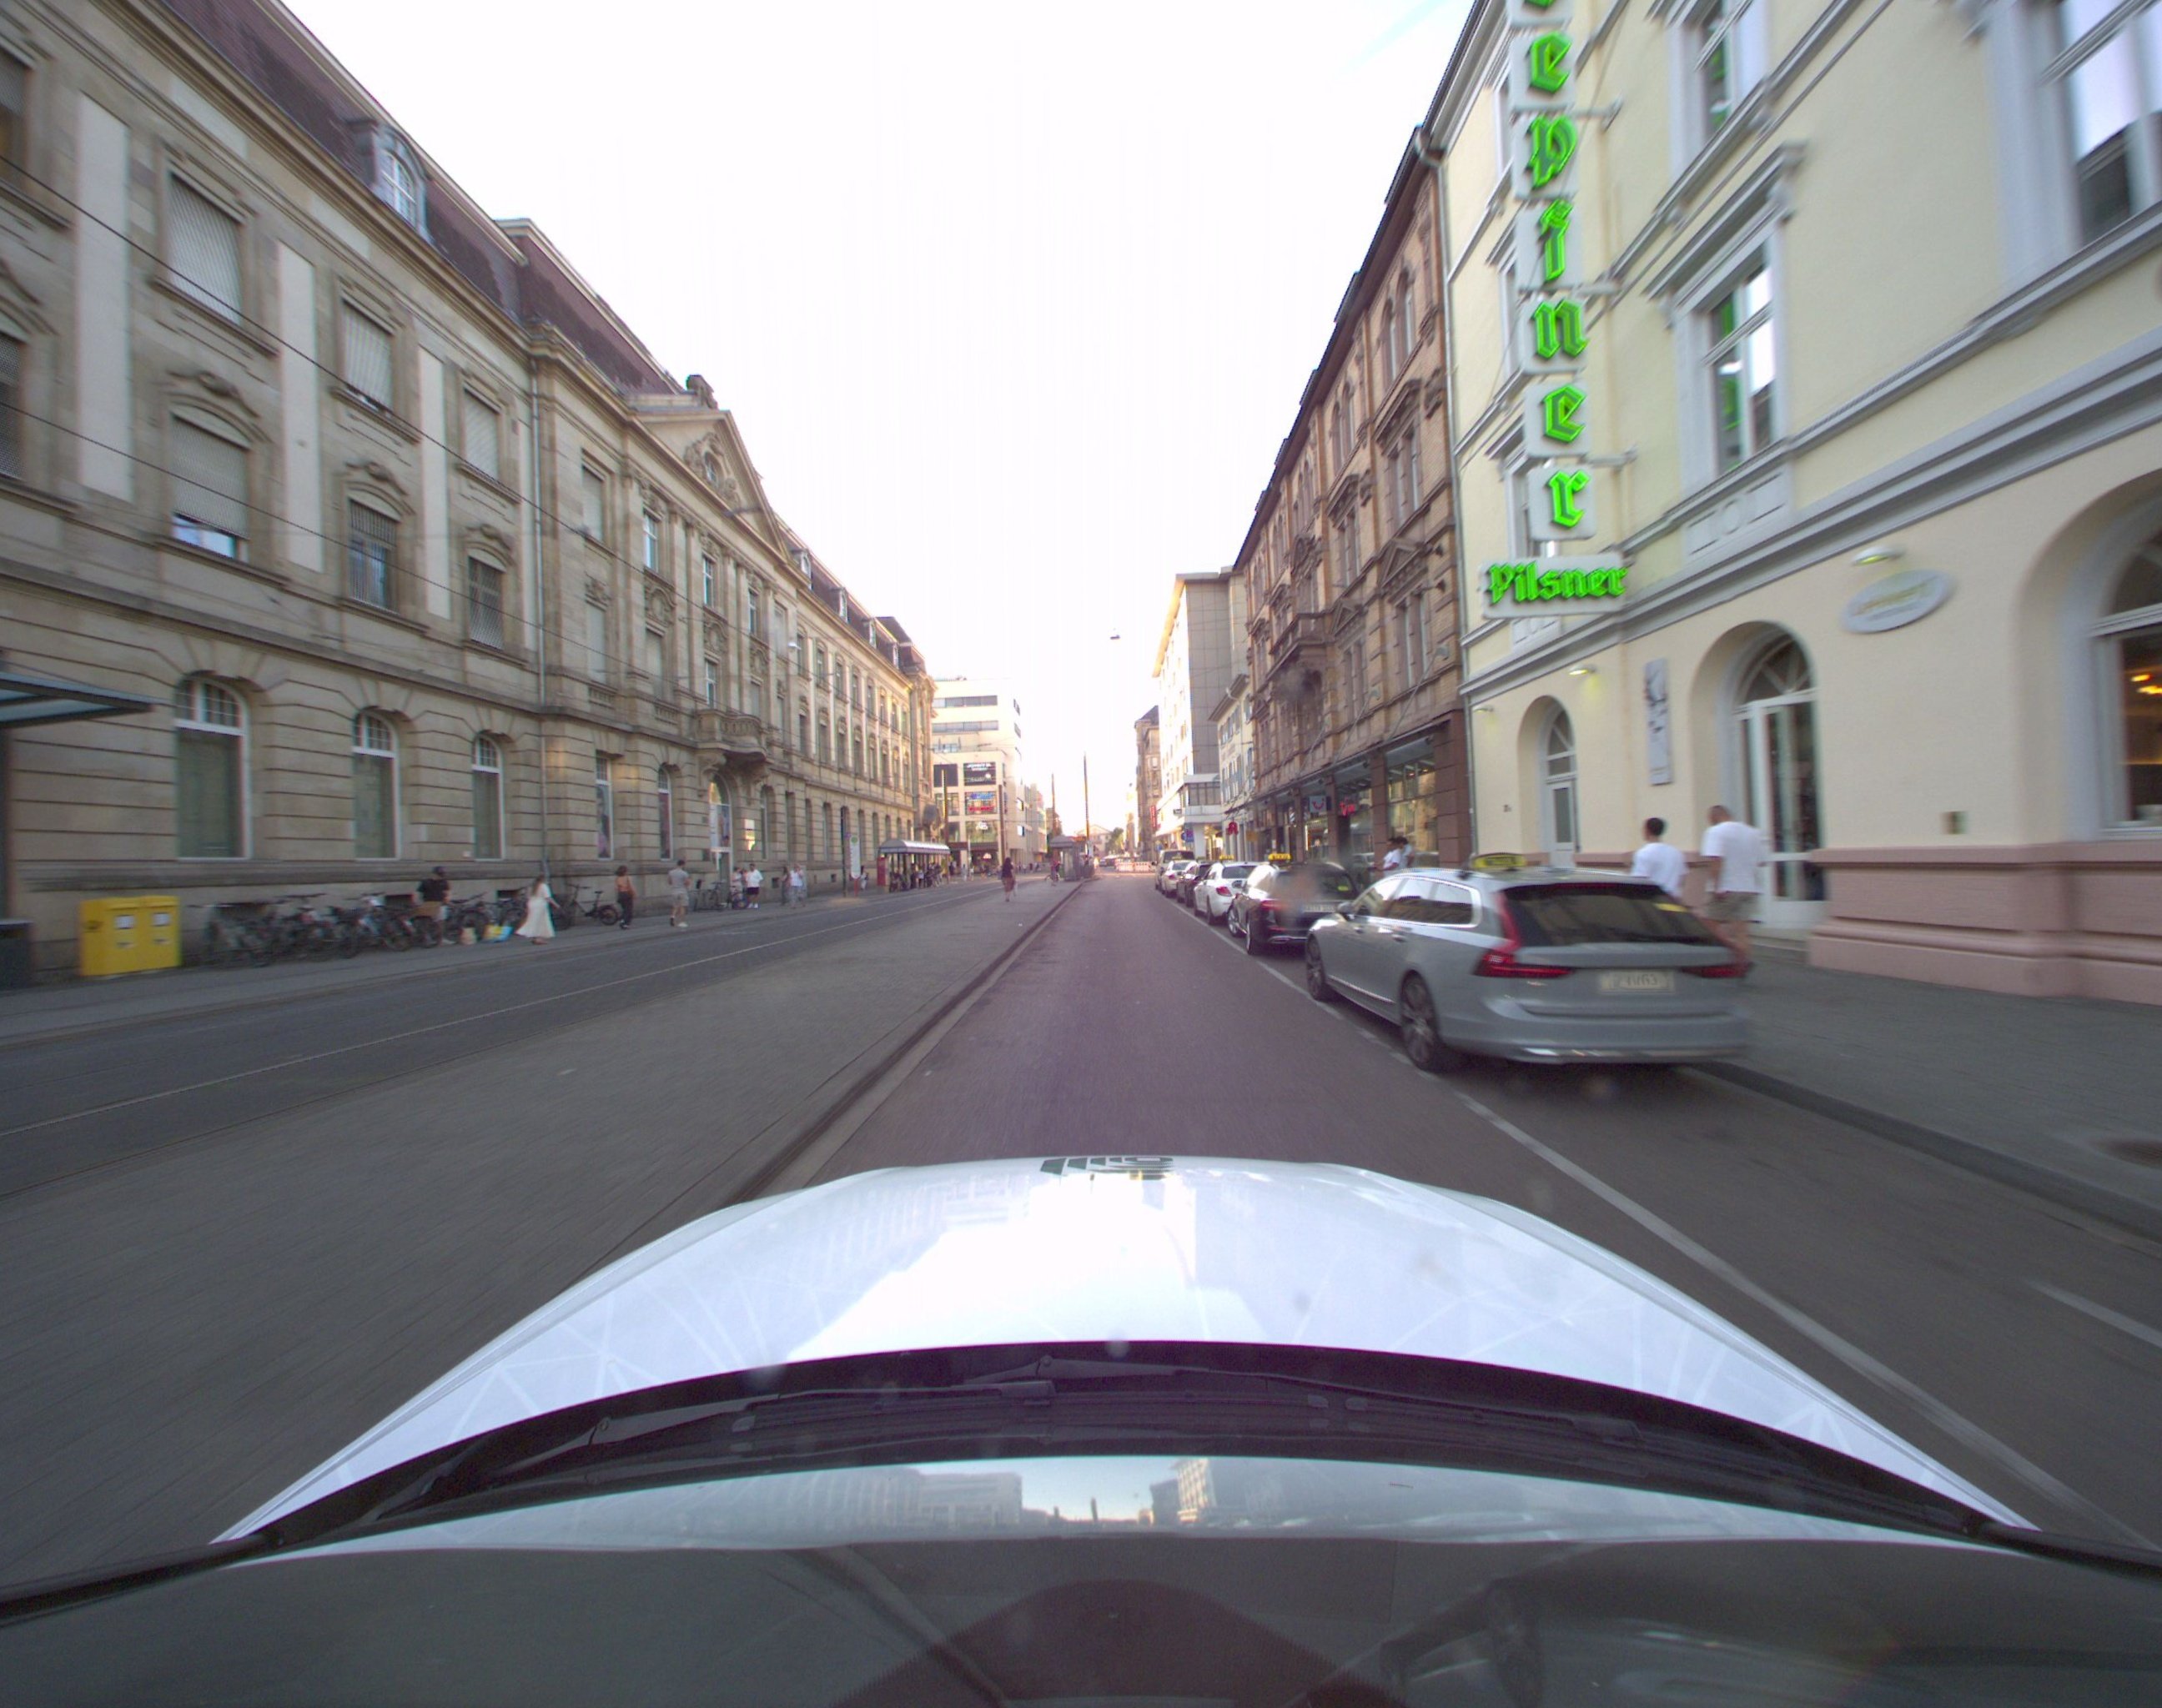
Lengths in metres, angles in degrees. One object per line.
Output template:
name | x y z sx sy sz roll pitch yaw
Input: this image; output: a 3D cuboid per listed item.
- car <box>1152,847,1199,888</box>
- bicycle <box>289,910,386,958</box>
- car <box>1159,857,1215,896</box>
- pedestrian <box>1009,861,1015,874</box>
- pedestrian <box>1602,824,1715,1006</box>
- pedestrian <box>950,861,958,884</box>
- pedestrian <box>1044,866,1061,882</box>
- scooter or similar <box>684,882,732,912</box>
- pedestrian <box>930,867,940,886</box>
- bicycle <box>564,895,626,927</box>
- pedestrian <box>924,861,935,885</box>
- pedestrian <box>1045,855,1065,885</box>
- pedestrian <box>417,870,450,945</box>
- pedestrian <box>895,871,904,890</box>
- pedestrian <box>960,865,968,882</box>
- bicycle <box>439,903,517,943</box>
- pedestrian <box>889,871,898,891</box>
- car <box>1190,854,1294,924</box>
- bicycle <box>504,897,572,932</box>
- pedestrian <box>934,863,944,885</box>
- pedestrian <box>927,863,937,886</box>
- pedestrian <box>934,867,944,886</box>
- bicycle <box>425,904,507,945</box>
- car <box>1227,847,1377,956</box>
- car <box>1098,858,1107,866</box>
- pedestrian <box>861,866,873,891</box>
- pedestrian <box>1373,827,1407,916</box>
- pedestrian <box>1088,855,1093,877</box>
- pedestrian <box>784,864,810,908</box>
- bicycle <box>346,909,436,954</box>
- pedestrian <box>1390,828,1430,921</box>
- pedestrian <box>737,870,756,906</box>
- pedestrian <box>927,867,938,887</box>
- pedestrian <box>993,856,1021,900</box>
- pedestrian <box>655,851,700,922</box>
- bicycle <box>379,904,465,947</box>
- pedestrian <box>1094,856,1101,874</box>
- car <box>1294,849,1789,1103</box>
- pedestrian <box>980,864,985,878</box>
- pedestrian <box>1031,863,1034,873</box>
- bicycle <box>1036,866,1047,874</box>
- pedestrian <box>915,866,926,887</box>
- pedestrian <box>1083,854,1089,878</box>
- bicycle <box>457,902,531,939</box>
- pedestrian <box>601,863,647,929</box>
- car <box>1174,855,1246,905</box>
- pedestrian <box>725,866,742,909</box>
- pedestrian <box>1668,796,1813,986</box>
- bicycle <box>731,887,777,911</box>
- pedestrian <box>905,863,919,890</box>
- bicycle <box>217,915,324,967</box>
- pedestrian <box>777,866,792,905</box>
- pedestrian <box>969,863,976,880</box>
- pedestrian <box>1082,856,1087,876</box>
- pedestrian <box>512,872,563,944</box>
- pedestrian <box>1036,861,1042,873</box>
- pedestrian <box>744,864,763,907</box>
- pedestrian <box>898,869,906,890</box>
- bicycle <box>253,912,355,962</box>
car | 4.609 0.673 40.333 1.870 1.923 4.701 0 -1 1
bicycle | -14.375 1.537 15.751 1.567 0.874 0.451 -1 -1 6
car | 4.283 0.877 33.601 1.799 1.483 4.779 0 0 1
pedestrian | -10.443 2.029 122.822 0.569 1.855 0.819 -1 -1 13
pedestrian | 5.669 0.589 8.026 0.614 1.689 0.488 -7 -1 17
pedestrian | -9.856 1.402 63.177 0.558 1.776 0.468 -2 -1 -3
pedestrian | -1.776 1.264 50.865 0.791 0.939 0.697 -2 -1 24
scooter or similar | -13.389 1.540 29.248 1.539 1.068 0.451 -1 -1 6
pedestrian | -10.057 1.548 56.146 0.515 1.327 0.639 -2 -2 5
bicycle | -14.100 1.661 23.630 1.567 0.874 0.451 -1 -1 6
pedestrian | -10.801 1.351 58.018 0.675 1.691 0.634 -2 -2 -15
pedestrian | -1.450 0.882 45.810 0.679 1.638 0.866 -3 -1 42
pedestrian | -14.377 1.173 18.090 0.362 1.633 0.430 -1 -1 7
pedestrian | -10.376 1.519 46.447 0.362 1.103 0.430 -1 -1 7
pedestrian | -10.784 1.779 75.040 0.520 1.525 0.497 -1 -1 -24
bicycle | -14.050 1.606 18.979 1.567 0.874 0.451 -1 -1 6
pedestrian | -10.551 1.512 45.865 0.362 1.103 0.430 -1 -1 7
car | 3.798 0.799 20.026 1.726 1.511 4.866 0 -1 1
bicycle | -14.503 1.608 21.765 1.567 0.874 0.451 -1 -1 6
pedestrian | -10.485 1.484 60.089 0.515 1.569 0.639 -2 -2 5
pedestrian | -10.856 1.461 59.330 0.515 1.646 0.639 -2 -2 5
pedestrian | -9.956 1.562 57.015 0.515 1.327 0.639 -2 -2 5
bicycle | -13.773 1.572 18.235 1.567 0.874 0.451 -1 -1 6
car | 3.605 0.727 14.084 1.725 1.590 4.447 0 -1 5
car | 5.107 1.858 193.911 1.986 1.904 4.000 -1 -1 1
pedestrian | -13.689 1.537 52.161 0.660 1.562 0.677 -2 -1 -13
pedestrian | 6.262 0.349 16.521 0.372 1.768 0.455 -4 -1 -2
pedestrian | 0.814 1.006 68.149 0.340 1.796 0.544 -1 -1 -1
pedestrian | -10.511 1.171 30.116 0.657 1.562 0.680 -2 -1 1
bicycle | -14.270 1.593 16.845 1.567 0.874 0.451 -1 -1 6
pedestrian | 6.449 0.401 15.989 0.372 1.768 0.663 -4 -1 -2
pedestrian | -13.504 1.377 32.904 0.435 1.440 0.575 -2 -2 38
pedestrian | -10.080 1.535 55.378 0.515 1.327 0.639 -2 -2 5
pedestrian | -2.610 0.847 28.902 0.843 1.501 0.901 -2 -1 1
pedestrian | -10.526 0.835 21.252 0.690 1.813 0.815 -2 -1 1
bicycle | -14.143 1.529 17.481 1.567 0.874 0.451 -1 -1 6
pedestrian | 1.729 1.153 86.512 0.696 1.815 0.853 -1 -1 5
car | 3.347 0.746 7.191 1.799 1.476 4.694 -1 -1 1
pedestrian | -11.459 1.953 94.765 0.567 1.593 0.448 -2 -1 -1
pedestrian | -7.155 2.063 119.588 0.388 1.515 0.505 -2 -1 0
bicycle | -6.273 2.513 128.582 1.688 1.122 0.451 -1 -1 3
pedestrian | -10.414 1.435 52.780 0.515 1.327 0.639 -2 -2 5
pedestrian | 0.397 0.925 62.323 0.410 1.767 0.594 -1 -1 -1
bicycle | -14.514 1.645 20.140 1.567 0.874 0.451 -1 -1 6
pedestrian | -12.200 1.100 21.755 0.690 1.712 0.815 -2 -1 1
car | 4.210 0.831 27.240 1.720 1.477 4.821 -1 -1 1
pedestrian | -13.403 1.276 31.427 0.333 1.642 0.607 -1 -1 9
pedestrian | 6.339 0.346 7.858 0.757 1.689 0.551 -7 -1 1
bicycle | -12.434 1.695 30.980 1.567 0.874 0.451 -1 -1 6
pedestrian | -10.442 1.393 50.303 0.513 1.650 0.641 -3 -2 24
bicycle | -14.447 1.545 14.520 1.567 0.874 0.451 -1 -1 6
pedestrian | -12.232 1.284 33.609 0.438 1.605 0.571 -1 -1 -3
pedestrian | -10.021 1.623 75.237 0.526 1.525 0.500 -2 -1 -12
pedestrian | 0.267 0.968 65.338 0.384 1.642 0.549 -1 -1 -1
pedestrian | -11.512 1.137 17.265 0.691 1.466 0.555 -2 -1 -6
pedestrian | -6.223 1.961 120.021 0.780 1.751 0.600 -1 -1 -2
pedestrian | -12.776 1.228 31.799 0.474 1.642 0.562 -1 -1 1
pedestrian | -10.394 1.466 47.295 0.362 1.200 0.430 -1 -1 7
bicycle | -14.457 1.547 15.167 1.567 0.874 0.451 -1 -1 6
